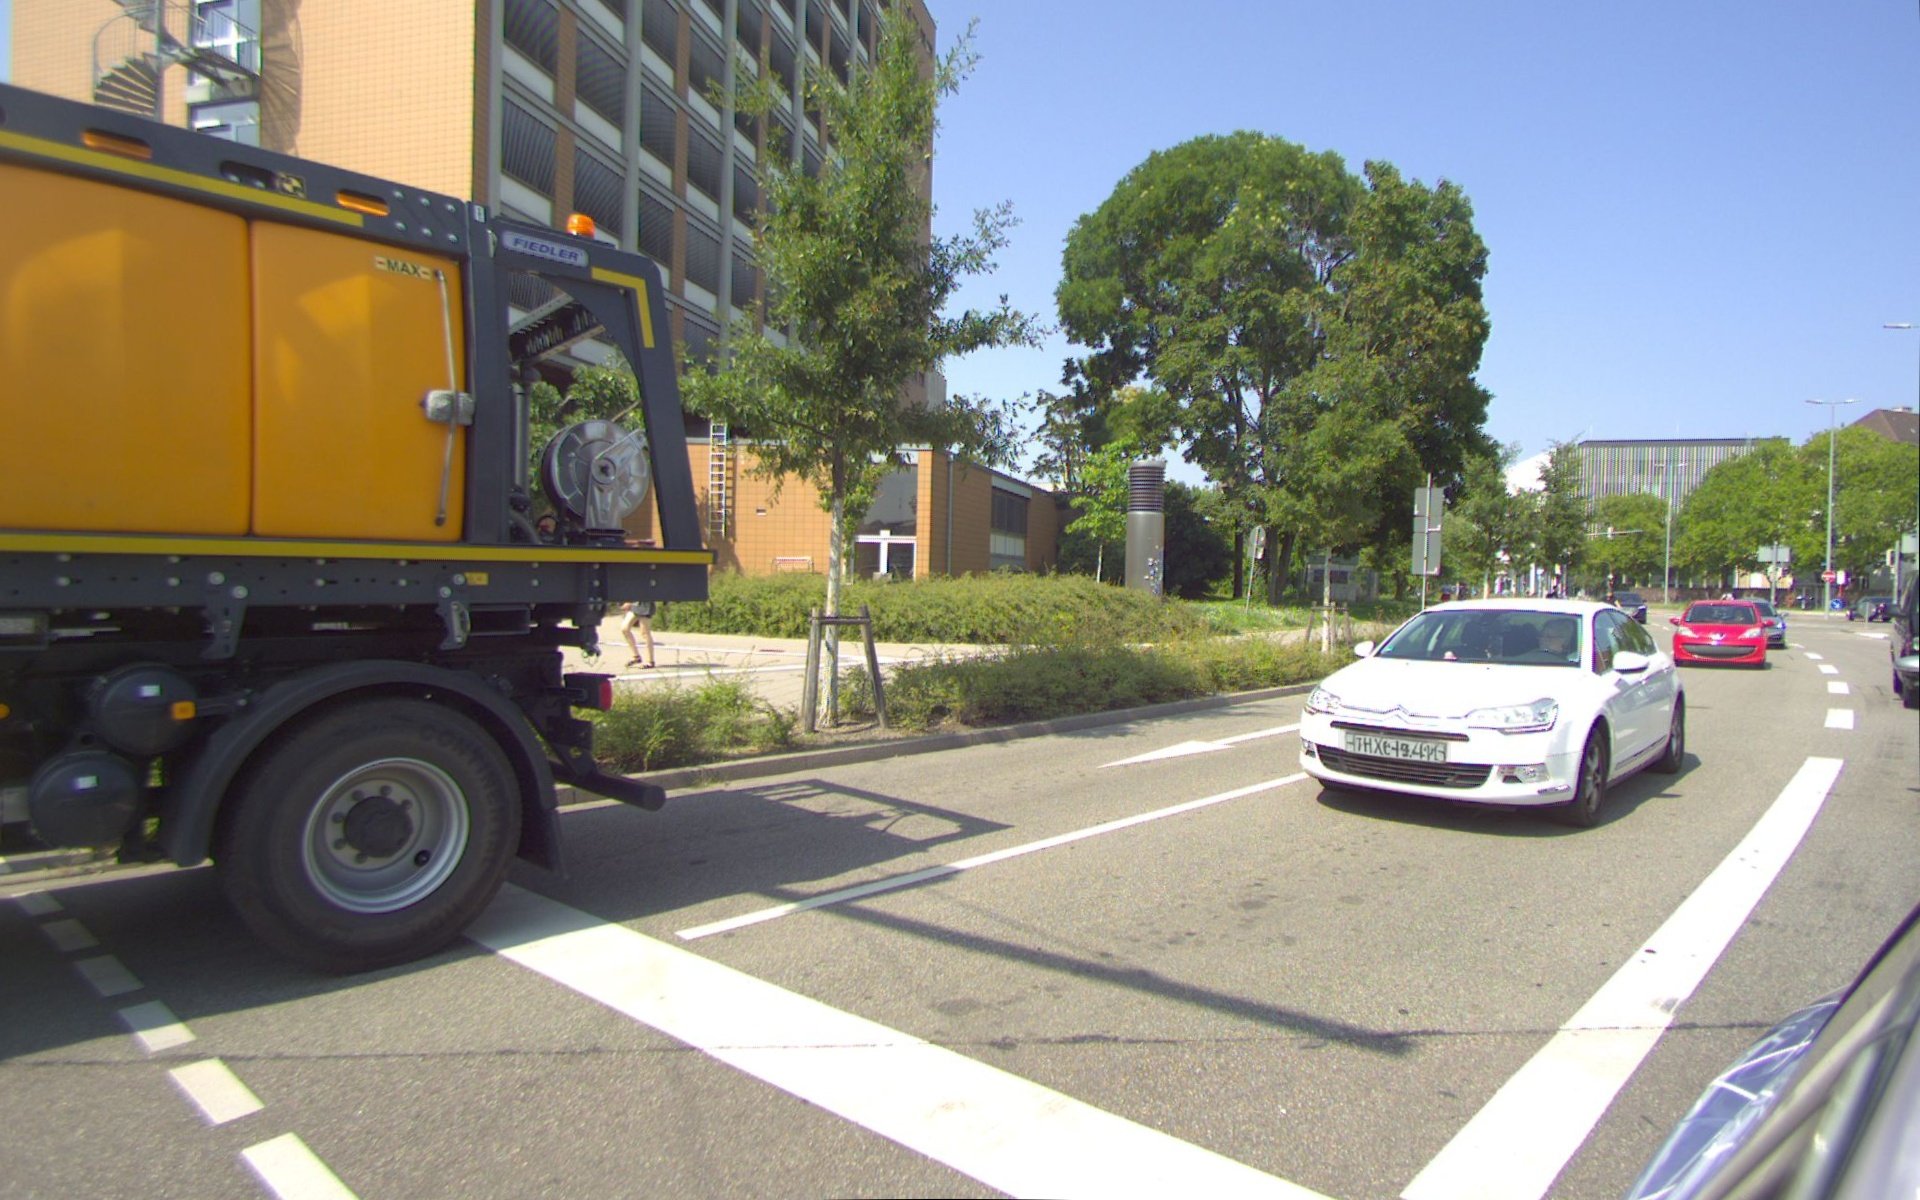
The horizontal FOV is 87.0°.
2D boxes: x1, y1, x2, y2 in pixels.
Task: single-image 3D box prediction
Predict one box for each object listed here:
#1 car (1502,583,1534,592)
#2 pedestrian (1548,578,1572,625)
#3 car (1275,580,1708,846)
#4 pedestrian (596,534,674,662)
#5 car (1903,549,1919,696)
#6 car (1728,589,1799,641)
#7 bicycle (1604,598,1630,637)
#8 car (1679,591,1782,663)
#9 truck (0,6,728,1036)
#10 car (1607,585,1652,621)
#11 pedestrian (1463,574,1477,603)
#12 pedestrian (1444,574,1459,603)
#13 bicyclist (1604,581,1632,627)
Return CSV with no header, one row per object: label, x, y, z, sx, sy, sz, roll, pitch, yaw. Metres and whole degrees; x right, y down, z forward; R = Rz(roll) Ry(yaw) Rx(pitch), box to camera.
car,92.581,-2.057,168.004,4.347,1.406,1.767,0,0,8
pedestrian,25.304,0.052,42.686,0.817,1.926,0.623,2,1,32
car,4.360,0.606,7.898,1.769,1.446,4.536,3,2,44
pedestrian,-4.527,-0.034,14.104,0.670,1.720,0.793,2,1,44
car,14.750,0.294,14.380,1.884,1.943,4.464,1,1,42
car,23.944,0.407,30.217,1.557,1.412,3.205,2,2,38
bicycle,21.126,0.533,32.507,0.591,1.183,2.207,2,1,35
car,17.132,0.530,22.437,1.643,1.449,3.760,1,1,40
truck,-4.421,-0.268,3.450,6.747,3.173,2.495,0,2,-44
car,34.244,0.113,51.745,1.799,1.682,3.952,3,2,34
pedestrian,23.122,-0.532,45.874,0.571,1.315,0.433,-1,0,27
pedestrian,22.440,-0.525,46.190,0.628,1.315,0.482,-1,0,27
bicyclist,21.122,0.122,32.483,0.675,1.417,1.036,2,1,35
